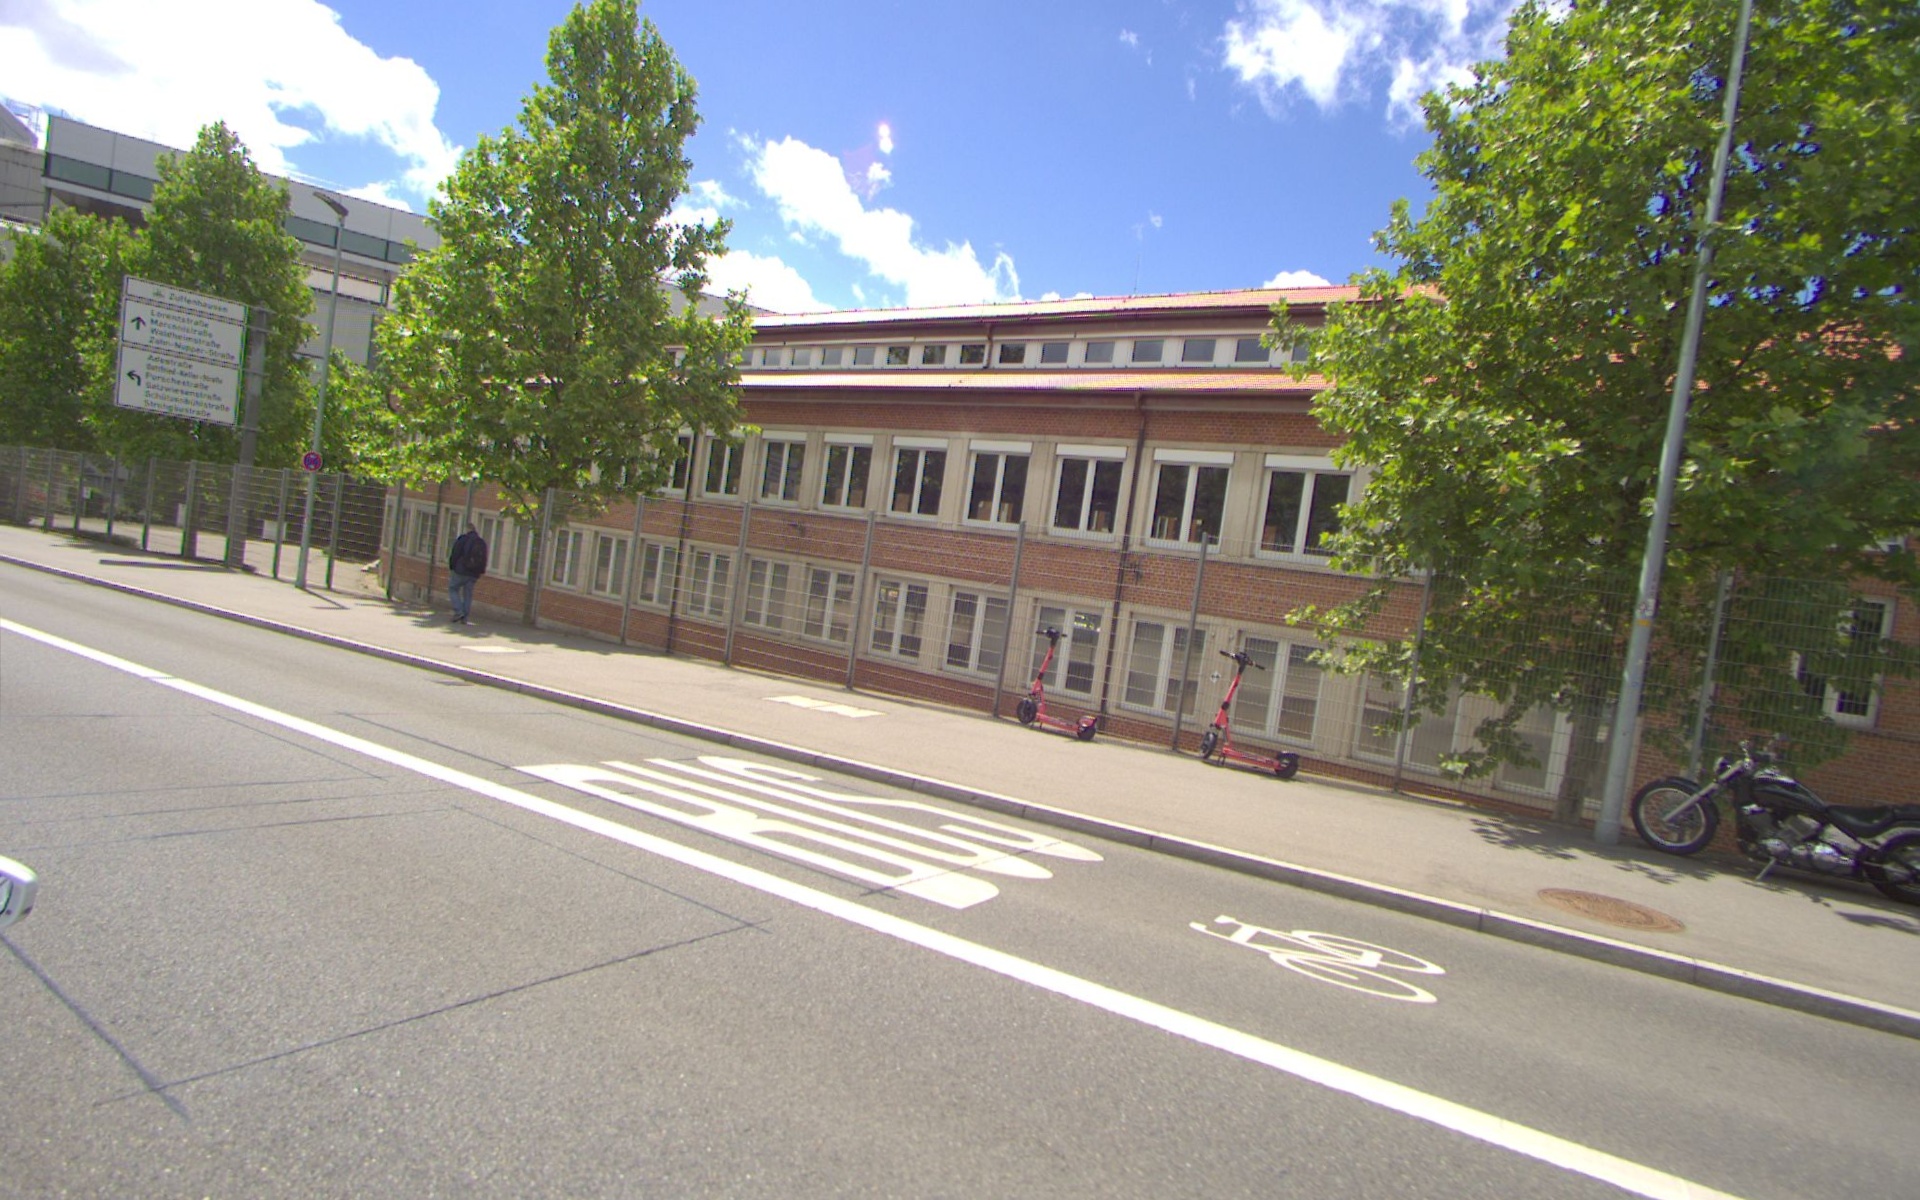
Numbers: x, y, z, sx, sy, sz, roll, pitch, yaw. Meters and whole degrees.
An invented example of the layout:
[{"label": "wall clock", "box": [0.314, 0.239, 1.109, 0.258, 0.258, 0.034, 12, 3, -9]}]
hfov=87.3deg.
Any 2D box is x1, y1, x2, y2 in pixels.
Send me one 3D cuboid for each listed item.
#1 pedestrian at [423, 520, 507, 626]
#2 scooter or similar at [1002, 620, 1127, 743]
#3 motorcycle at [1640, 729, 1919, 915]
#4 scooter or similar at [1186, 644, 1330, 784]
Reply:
[{"label": "pedestrian", "box": [-8.840, -0.471, 17.975, 0.925, 1.766, 0.877, 7, 3, 32]}, {"label": "scooter or similar", "box": [1.271, 0.980, 12.354, 1.314, 1.311, 0.491, 7, 2, 32]}, {"label": "motorcycle", "box": [6.992, 1.806, 8.244, 2.209, 1.078, 0.668, 7, 3, 32]}, {"label": "scooter or similar", "box": [3.275, 1.226, 11.099, 1.314, 1.311, 0.491, 7, 2, 32]}]
